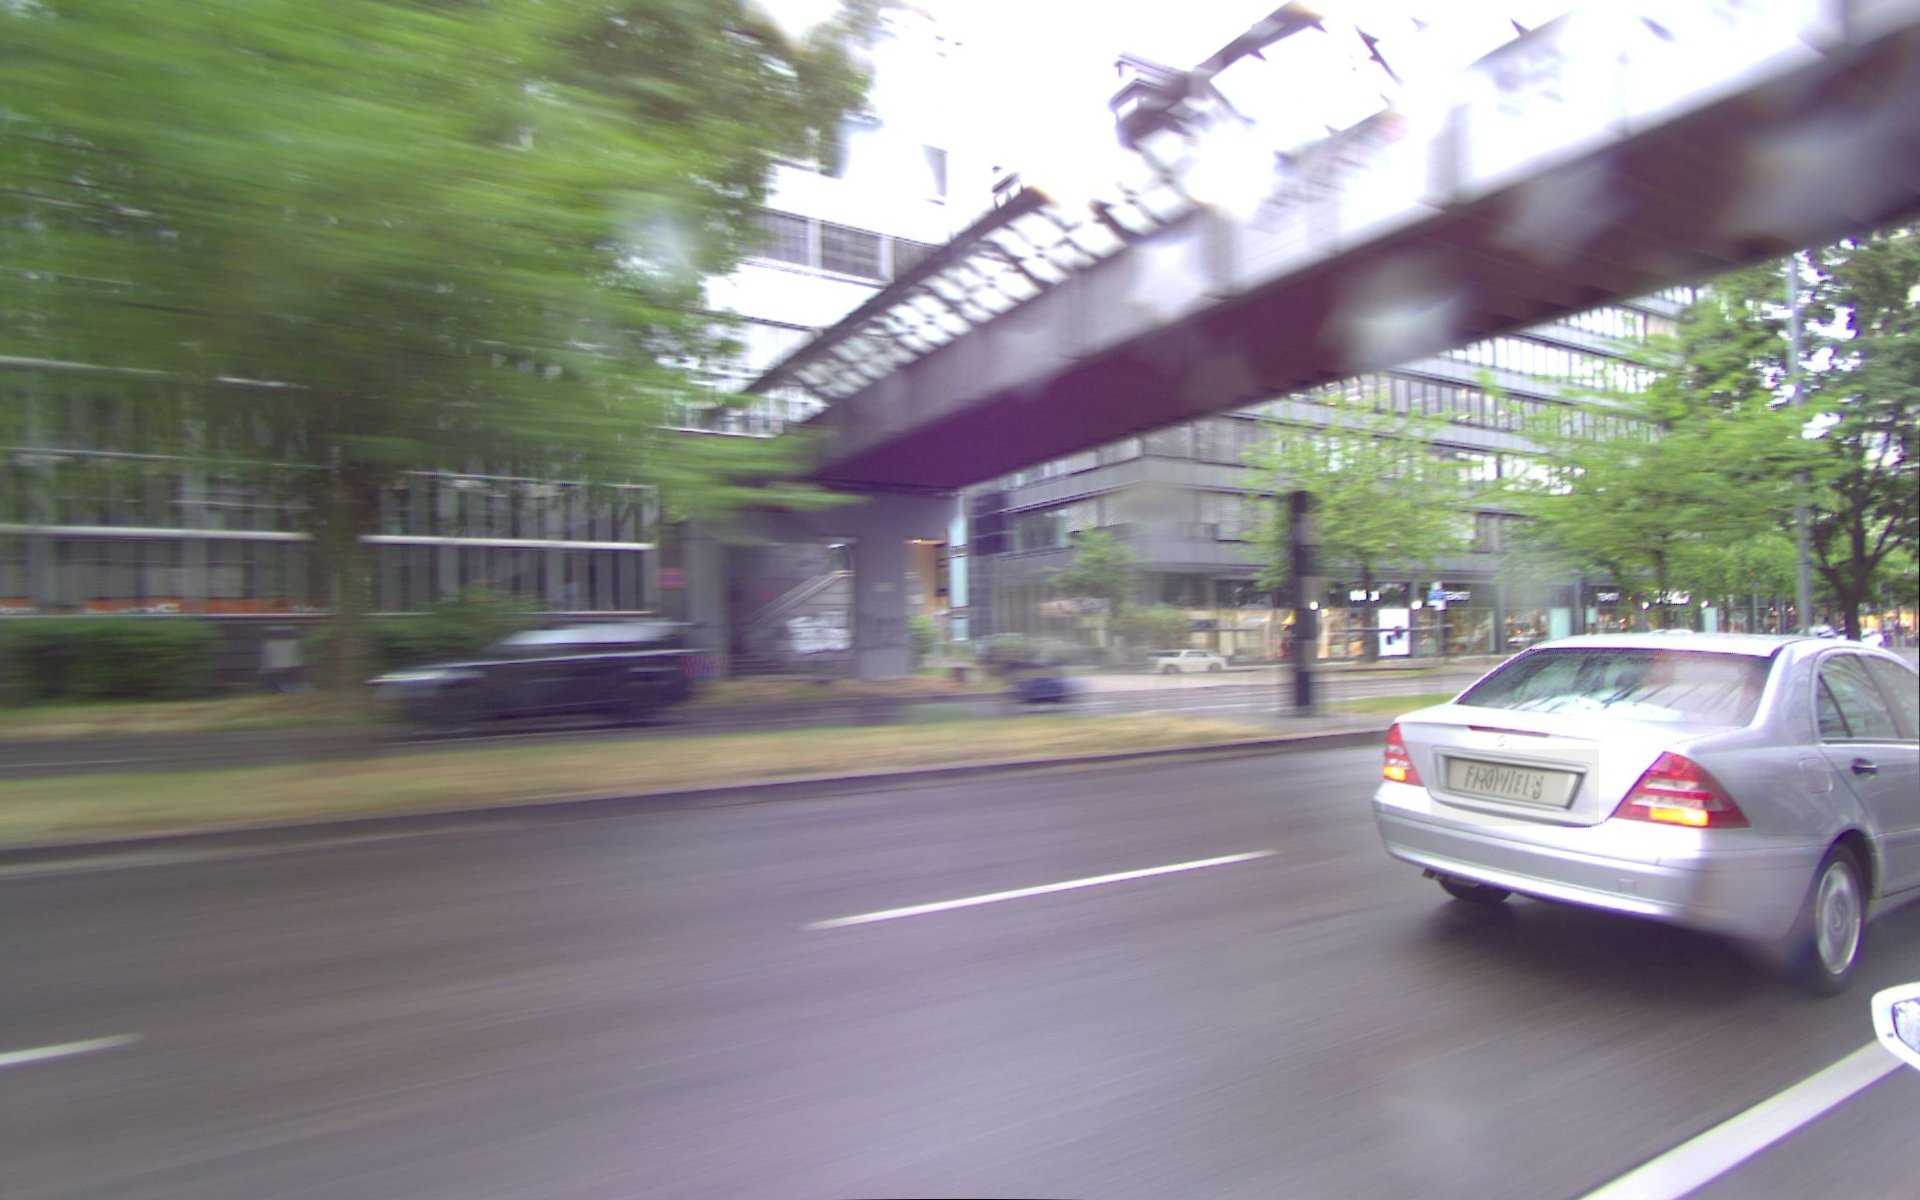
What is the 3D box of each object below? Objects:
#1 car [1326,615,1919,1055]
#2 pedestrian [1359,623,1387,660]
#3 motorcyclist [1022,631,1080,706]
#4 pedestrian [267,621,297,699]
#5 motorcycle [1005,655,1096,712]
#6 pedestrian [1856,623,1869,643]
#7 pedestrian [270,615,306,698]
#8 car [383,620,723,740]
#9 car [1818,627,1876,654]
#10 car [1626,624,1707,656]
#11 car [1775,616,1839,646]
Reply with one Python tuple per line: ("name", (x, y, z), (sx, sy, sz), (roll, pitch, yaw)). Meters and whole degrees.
("car", (4.040, 0.855, 5.259), (4.310, 1.498, 1.664), (1, -1, -31))
("pedestrian", (19.402, 1.940, 47.161), (1.045, 1.738, 0.739), (0, -2, -31))
("motorcyclist", (1.805, 1.339, 19.882), (0.958, 1.437, 0.635), (1, -2, -30))
("pedestrian", (-15.017, 1.319, 22.245), (0.505, 1.708, 0.557), (0, -1, -30))
("motorcycle", (1.795, 1.626, 19.793), (1.784, 1.035, 0.581), (1, -2, -31))
("pedestrian", (69.214, 2.523, 77.062), (0.591, 1.523, 0.437), (-1, -1, 22))
("pedestrian", (-15.250, 1.268, 22.807), (0.610, 1.831, 0.719), (0, -1, -30))
("car", (-6.888, 1.307, 17.208), (5.129, 1.790, 1.990), (1, -5, -33))
("car", (52.807, 2.379, 59.776), (3.919, 1.480, 1.614), (1, -1, -33))
("car", (33.805, 1.928, 48.046), (4.397, 1.451, 1.615), (2, -3, -33))
("car", (47.771, 1.732, 56.655), (4.186, 1.632, 1.614), (1, -1, -33))
